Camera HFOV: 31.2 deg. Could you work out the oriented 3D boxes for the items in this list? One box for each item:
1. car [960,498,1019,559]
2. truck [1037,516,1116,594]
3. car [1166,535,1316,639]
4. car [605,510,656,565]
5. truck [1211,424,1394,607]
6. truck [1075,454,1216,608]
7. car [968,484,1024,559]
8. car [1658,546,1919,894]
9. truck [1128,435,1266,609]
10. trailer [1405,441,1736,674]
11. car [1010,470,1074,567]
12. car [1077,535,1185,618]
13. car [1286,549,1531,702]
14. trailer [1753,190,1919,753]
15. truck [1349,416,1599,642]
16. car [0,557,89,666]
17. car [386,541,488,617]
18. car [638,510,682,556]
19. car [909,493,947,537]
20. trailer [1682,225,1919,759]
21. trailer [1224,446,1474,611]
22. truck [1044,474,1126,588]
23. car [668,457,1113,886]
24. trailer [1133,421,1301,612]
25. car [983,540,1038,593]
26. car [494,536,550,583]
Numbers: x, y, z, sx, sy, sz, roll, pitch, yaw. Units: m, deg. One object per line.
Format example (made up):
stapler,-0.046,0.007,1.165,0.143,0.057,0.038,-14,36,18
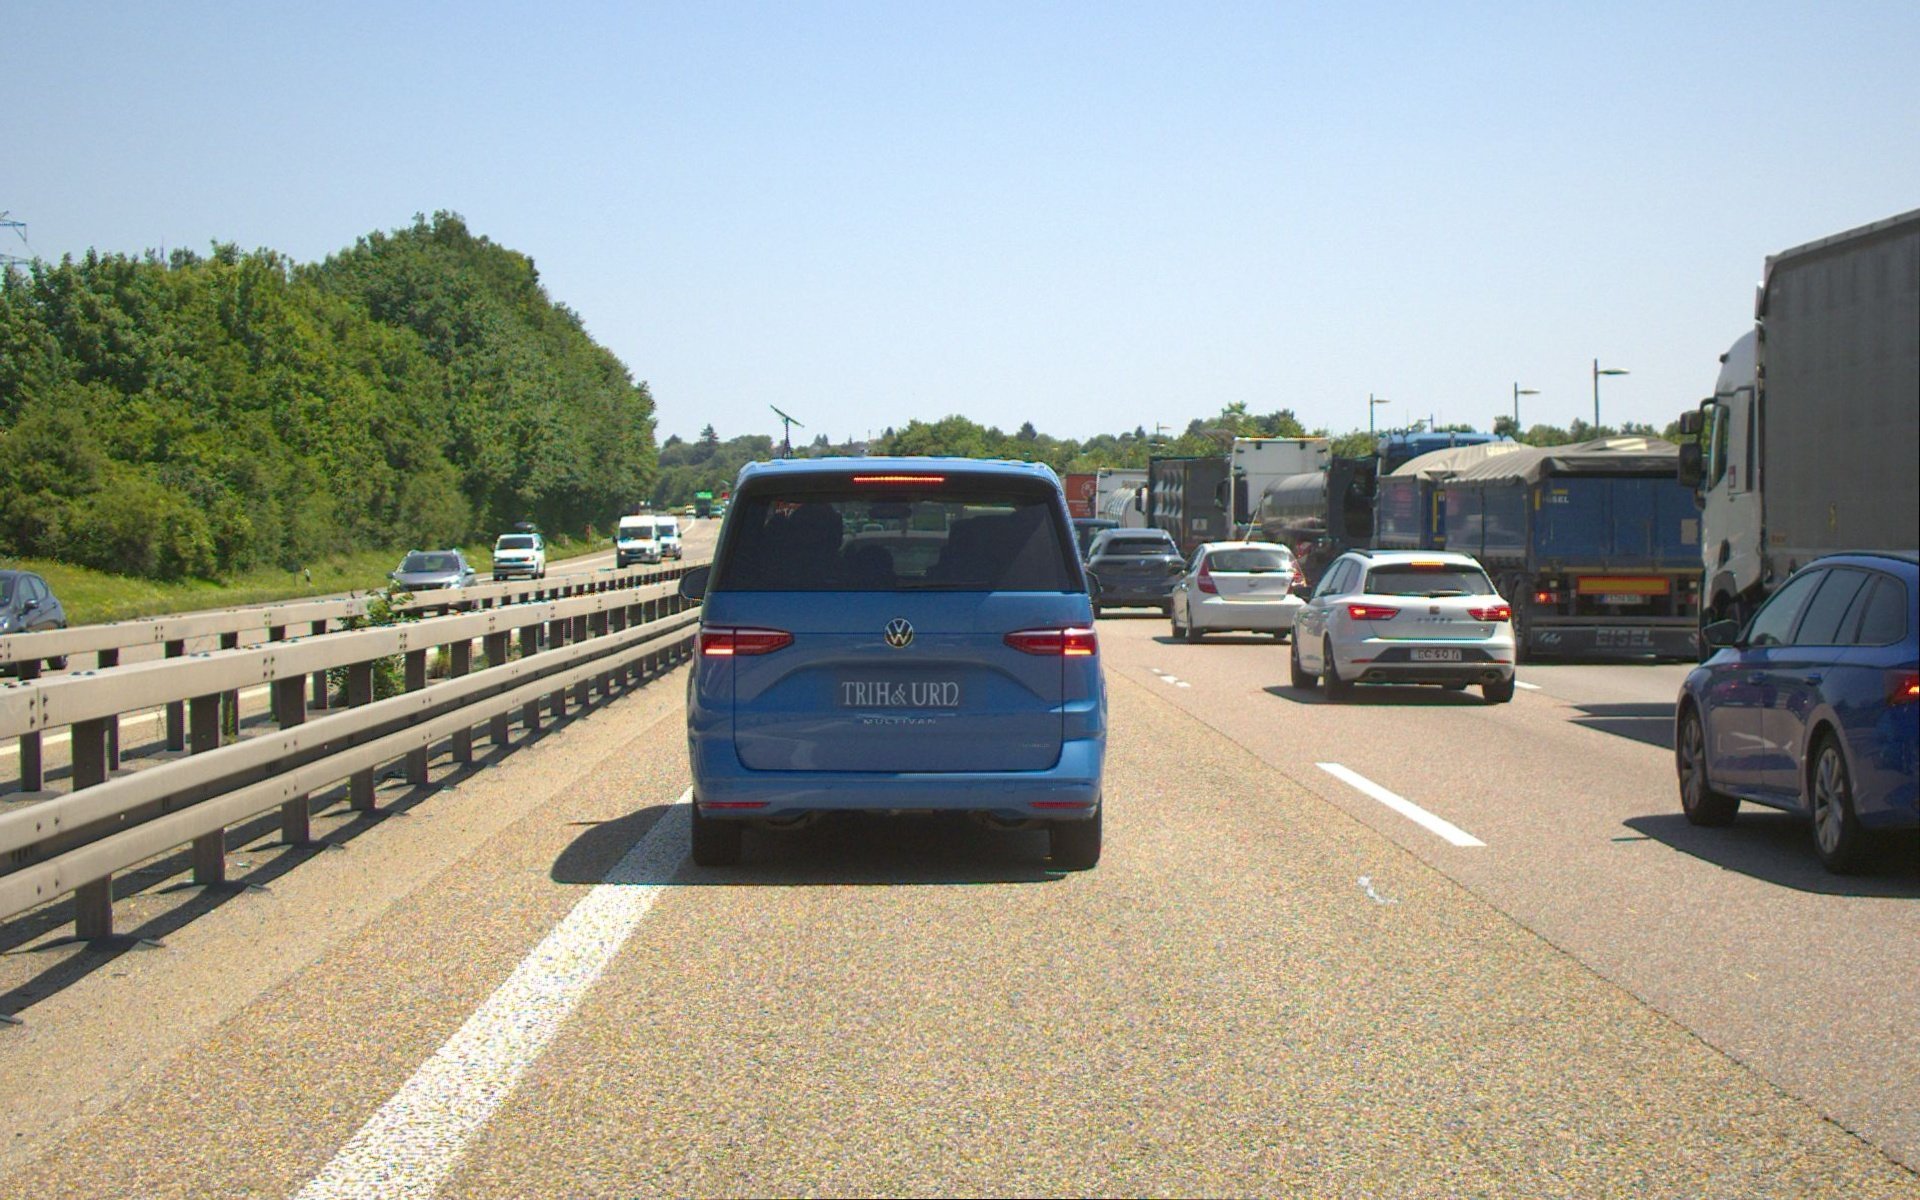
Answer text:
car,1.339,-3.283,159.053,2.550,2.708,5.621,1,0,-1
truck,2.870,-1.104,85.272,1.725,1.851,4.000,1,0,-1
car,4.119,-0.199,50.946,1.840,1.449,4.000,1,0,0
car,-16.503,-3.128,172.378,2.052,2.642,5.839,-2,0,-1
truck,8.000,-1.938,81.298,3.626,4.080,7.524,1,0,1
truck,6.531,-2.397,124.291,3.621,5.195,15.690,1,0,-2
car,2.567,-5.637,247.897,3.218,5.239,8.145,1,0,-5
car,4.656,0.491,16.449,1.706,1.436,4.428,1,0,0
truck,7.228,-2.354,105.660,3.658,5.162,5.709,1,0,-1
trailer,8.066,-0.667,46.649,2.743,2.827,9.116,1,2,-1
car,4.502,-4.465,190.897,3.218,5.239,8.144,1,0,-1
car,3.238,-0.444,65.632,1.781,1.519,4.000,1,0,-1
car,4.268,0.203,33.254,1.867,1.356,4.000,1,1,1
trailer,8.379,-0.888,22.716,2.962,4.035,13.753,0,1,-1
truck,7.968,-1.157,54.166,2.743,3.300,7.133,1,2,-1
car,-13.503,0.167,47.627,1.876,1.441,4.145,-2,0,-2
car,-11.705,-0.472,77.134,1.773,1.625,3.951,1,0,-2
car,-17.653,-3.913,202.552,2.156,2.585,5.891,-1,0,-1
car,-2.501,-6.508,264.113,2.485,3.193,7.373,1,0,-4
trailer,8.291,-0.888,29.145,2.924,4.030,6.411,0,1,-1
trailer,7.934,-1.400,72.616,3.646,3.068,15.772,1,0,1
truck,5.525,-3.028,153.883,3.068,4.903,10.691,1,0,-1
car,-0.280,0.296,16.871,1.901,1.831,4.000,1,0,1
trailer,7.283,-2.313,99.628,3.646,5.119,13.076,1,0,-1
car,1.936,-1.292,132.941,1.993,2.007,4.000,1,0,-1
car,-18.963,-1.751,149.166,1.864,1.898,5.493,-2,0,-2
